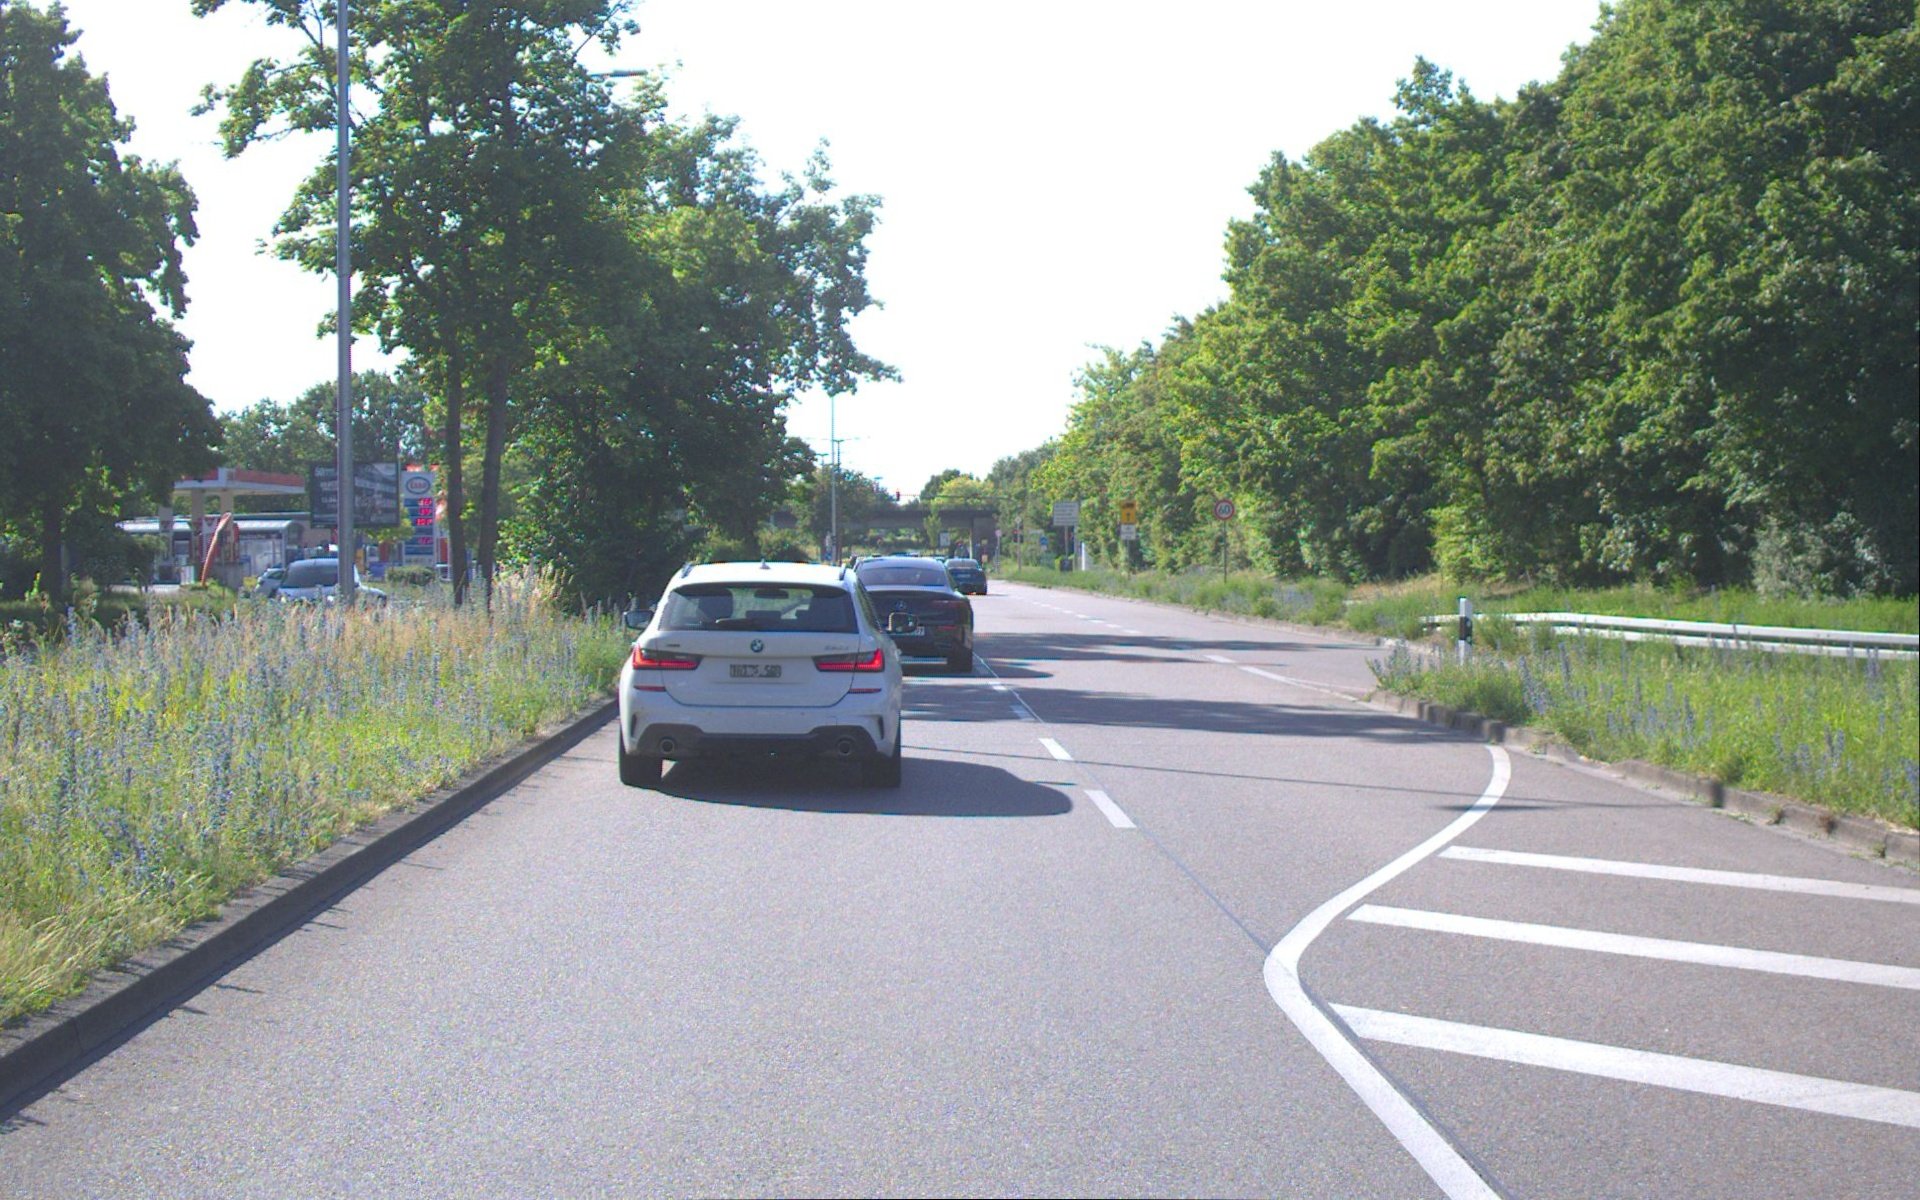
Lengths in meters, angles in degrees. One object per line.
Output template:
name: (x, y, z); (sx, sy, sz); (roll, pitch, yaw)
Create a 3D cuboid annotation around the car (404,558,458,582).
car: (-39.433, -2.261, 256.284); (4.084, 1.777, 1.922); (0, 1, 45)

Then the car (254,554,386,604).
car: (-22.498, -0.737, 120.947); (4.113, 1.656, 1.891); (-1, 1, 15)

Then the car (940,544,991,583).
car: (0.204, -1.455, 135.824); (1.861, 1.494, 4.337); (0, 1, -2)

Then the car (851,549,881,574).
car: (-5.900, -2.432, 216.173); (1.861, 1.560, 4.548); (0, 1, -2)

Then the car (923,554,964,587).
car: (-0.813, -1.414, 164.788); (1.771, 1.550, 3.834); (-1, 1, -3)

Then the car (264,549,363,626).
car: (-15.180, -0.317, 80.910); (1.706, 1.740, 4.166); (0, 1, -3)

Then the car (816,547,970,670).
car: (-0.895, 0.067, 44.510); (1.861, 1.450, 4.548); (-1, 1, -2)

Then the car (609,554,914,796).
car: (-1.266, 0.430, 23.395); (1.861, 1.450, 4.548); (0, 1, -1)
